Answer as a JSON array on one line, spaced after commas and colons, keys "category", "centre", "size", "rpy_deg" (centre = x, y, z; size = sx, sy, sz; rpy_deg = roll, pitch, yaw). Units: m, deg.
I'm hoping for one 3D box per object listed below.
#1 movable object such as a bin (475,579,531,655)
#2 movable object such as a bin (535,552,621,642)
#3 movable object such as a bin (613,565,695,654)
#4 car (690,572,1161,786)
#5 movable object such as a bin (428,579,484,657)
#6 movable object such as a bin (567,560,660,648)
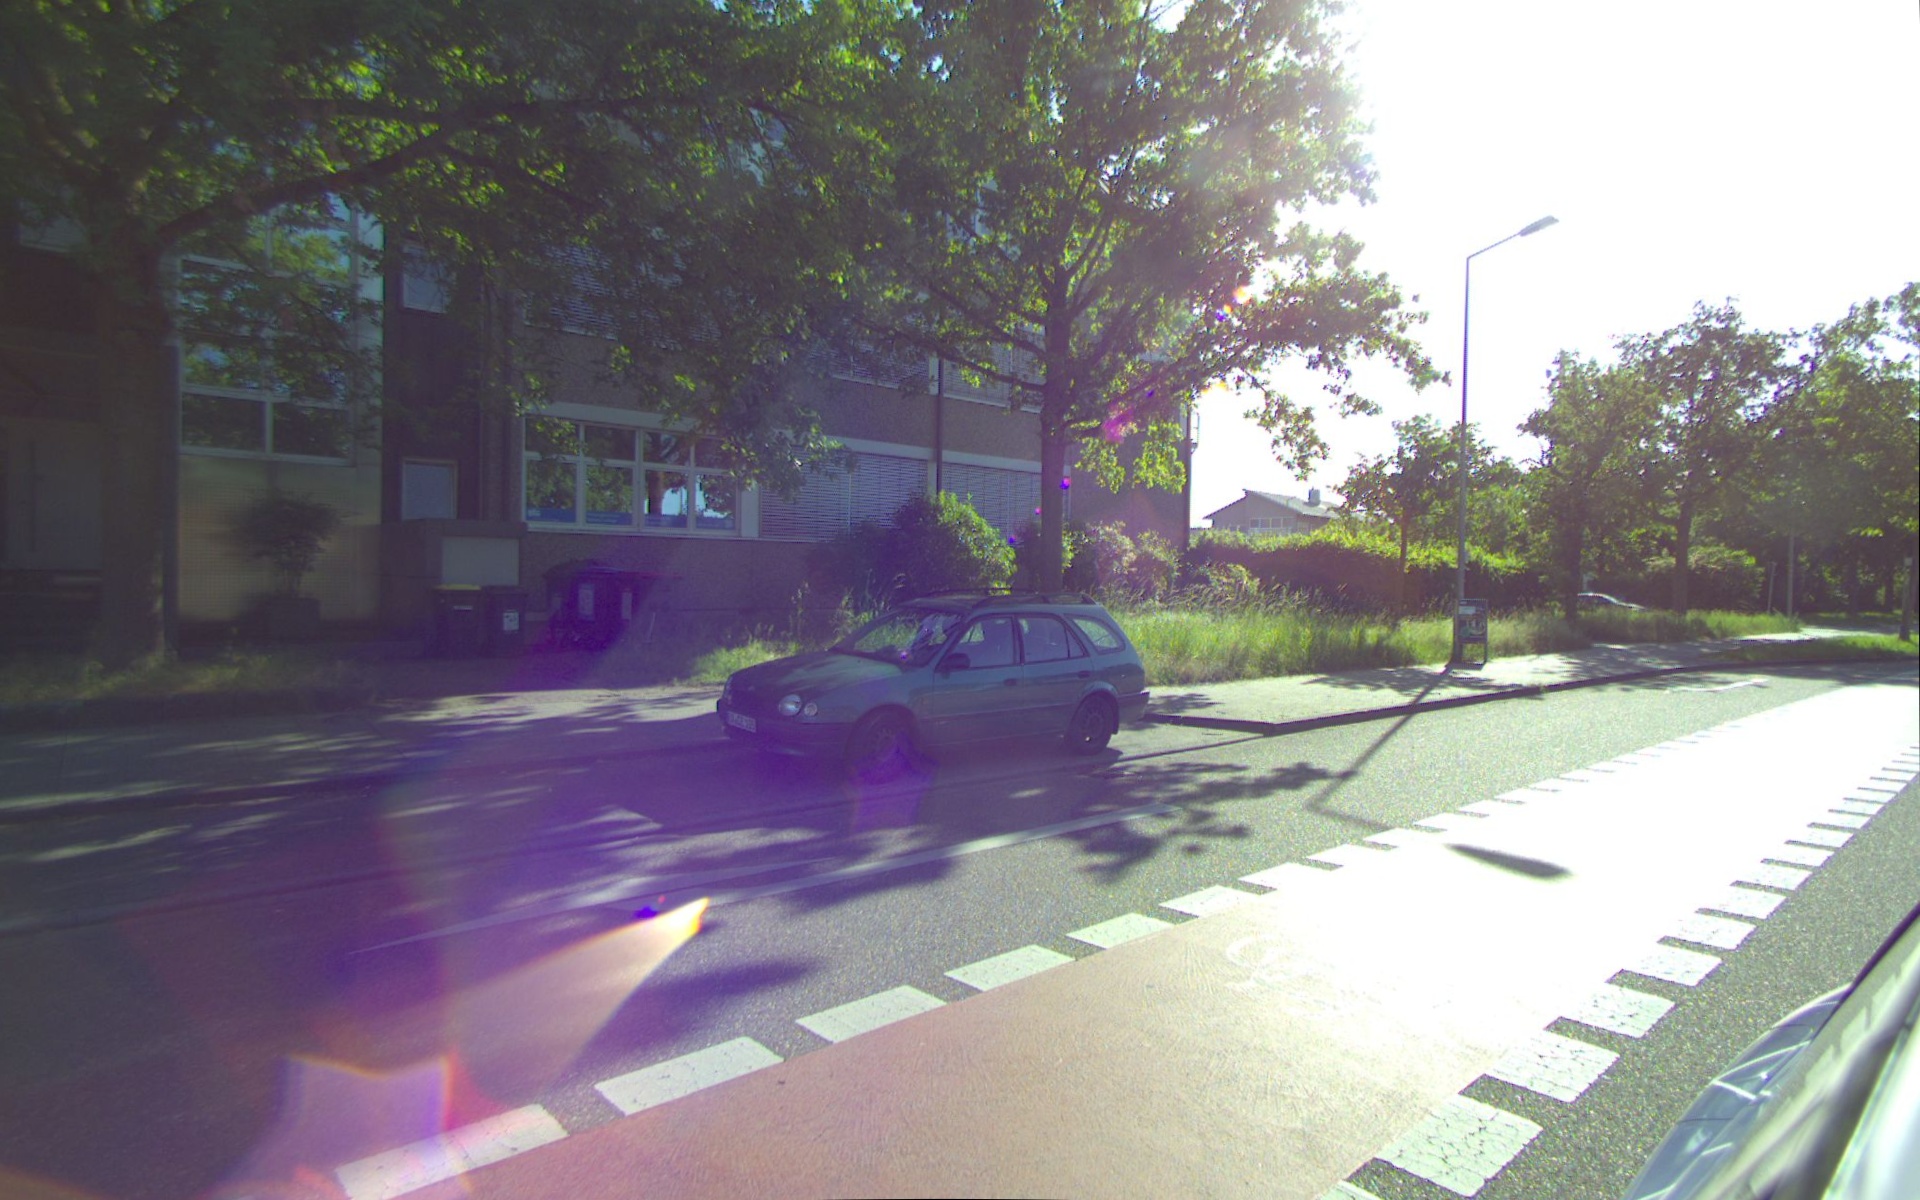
[{"category": "movable object such as a bin", "centre": [-6.762, 0.237, 14.979], "size": [0.604, 1.075, 0.634], "rpy_deg": [0, 1, -42]}, {"category": "movable object such as a bin", "centre": [-6.784, -0.077, 17.942], "size": [1.024, 1.501, 1.309], "rpy_deg": [0, 2, -41]}, {"category": "movable object such as a bin", "centre": [-4.785, 0.122, 15.775], "size": [0.878, 1.323, 1.186], "rpy_deg": [0, 2, -37]}, {"category": "car", "centre": [-0.149, 0.572, 9.134], "size": [4.068, 1.487, 1.705], "rpy_deg": [1, 1, -41]}, {"category": "movable object such as a bin", "centre": [-7.218, 0.242, 14.498], "size": [0.575, 1.070, 0.625], "rpy_deg": [0, 1, -42]}, {"category": "movable object such as a bin", "centre": [-5.775, 0.039, 16.862], "size": [1.070, 1.388, 1.186], "rpy_deg": [0, 2, -43]}]
